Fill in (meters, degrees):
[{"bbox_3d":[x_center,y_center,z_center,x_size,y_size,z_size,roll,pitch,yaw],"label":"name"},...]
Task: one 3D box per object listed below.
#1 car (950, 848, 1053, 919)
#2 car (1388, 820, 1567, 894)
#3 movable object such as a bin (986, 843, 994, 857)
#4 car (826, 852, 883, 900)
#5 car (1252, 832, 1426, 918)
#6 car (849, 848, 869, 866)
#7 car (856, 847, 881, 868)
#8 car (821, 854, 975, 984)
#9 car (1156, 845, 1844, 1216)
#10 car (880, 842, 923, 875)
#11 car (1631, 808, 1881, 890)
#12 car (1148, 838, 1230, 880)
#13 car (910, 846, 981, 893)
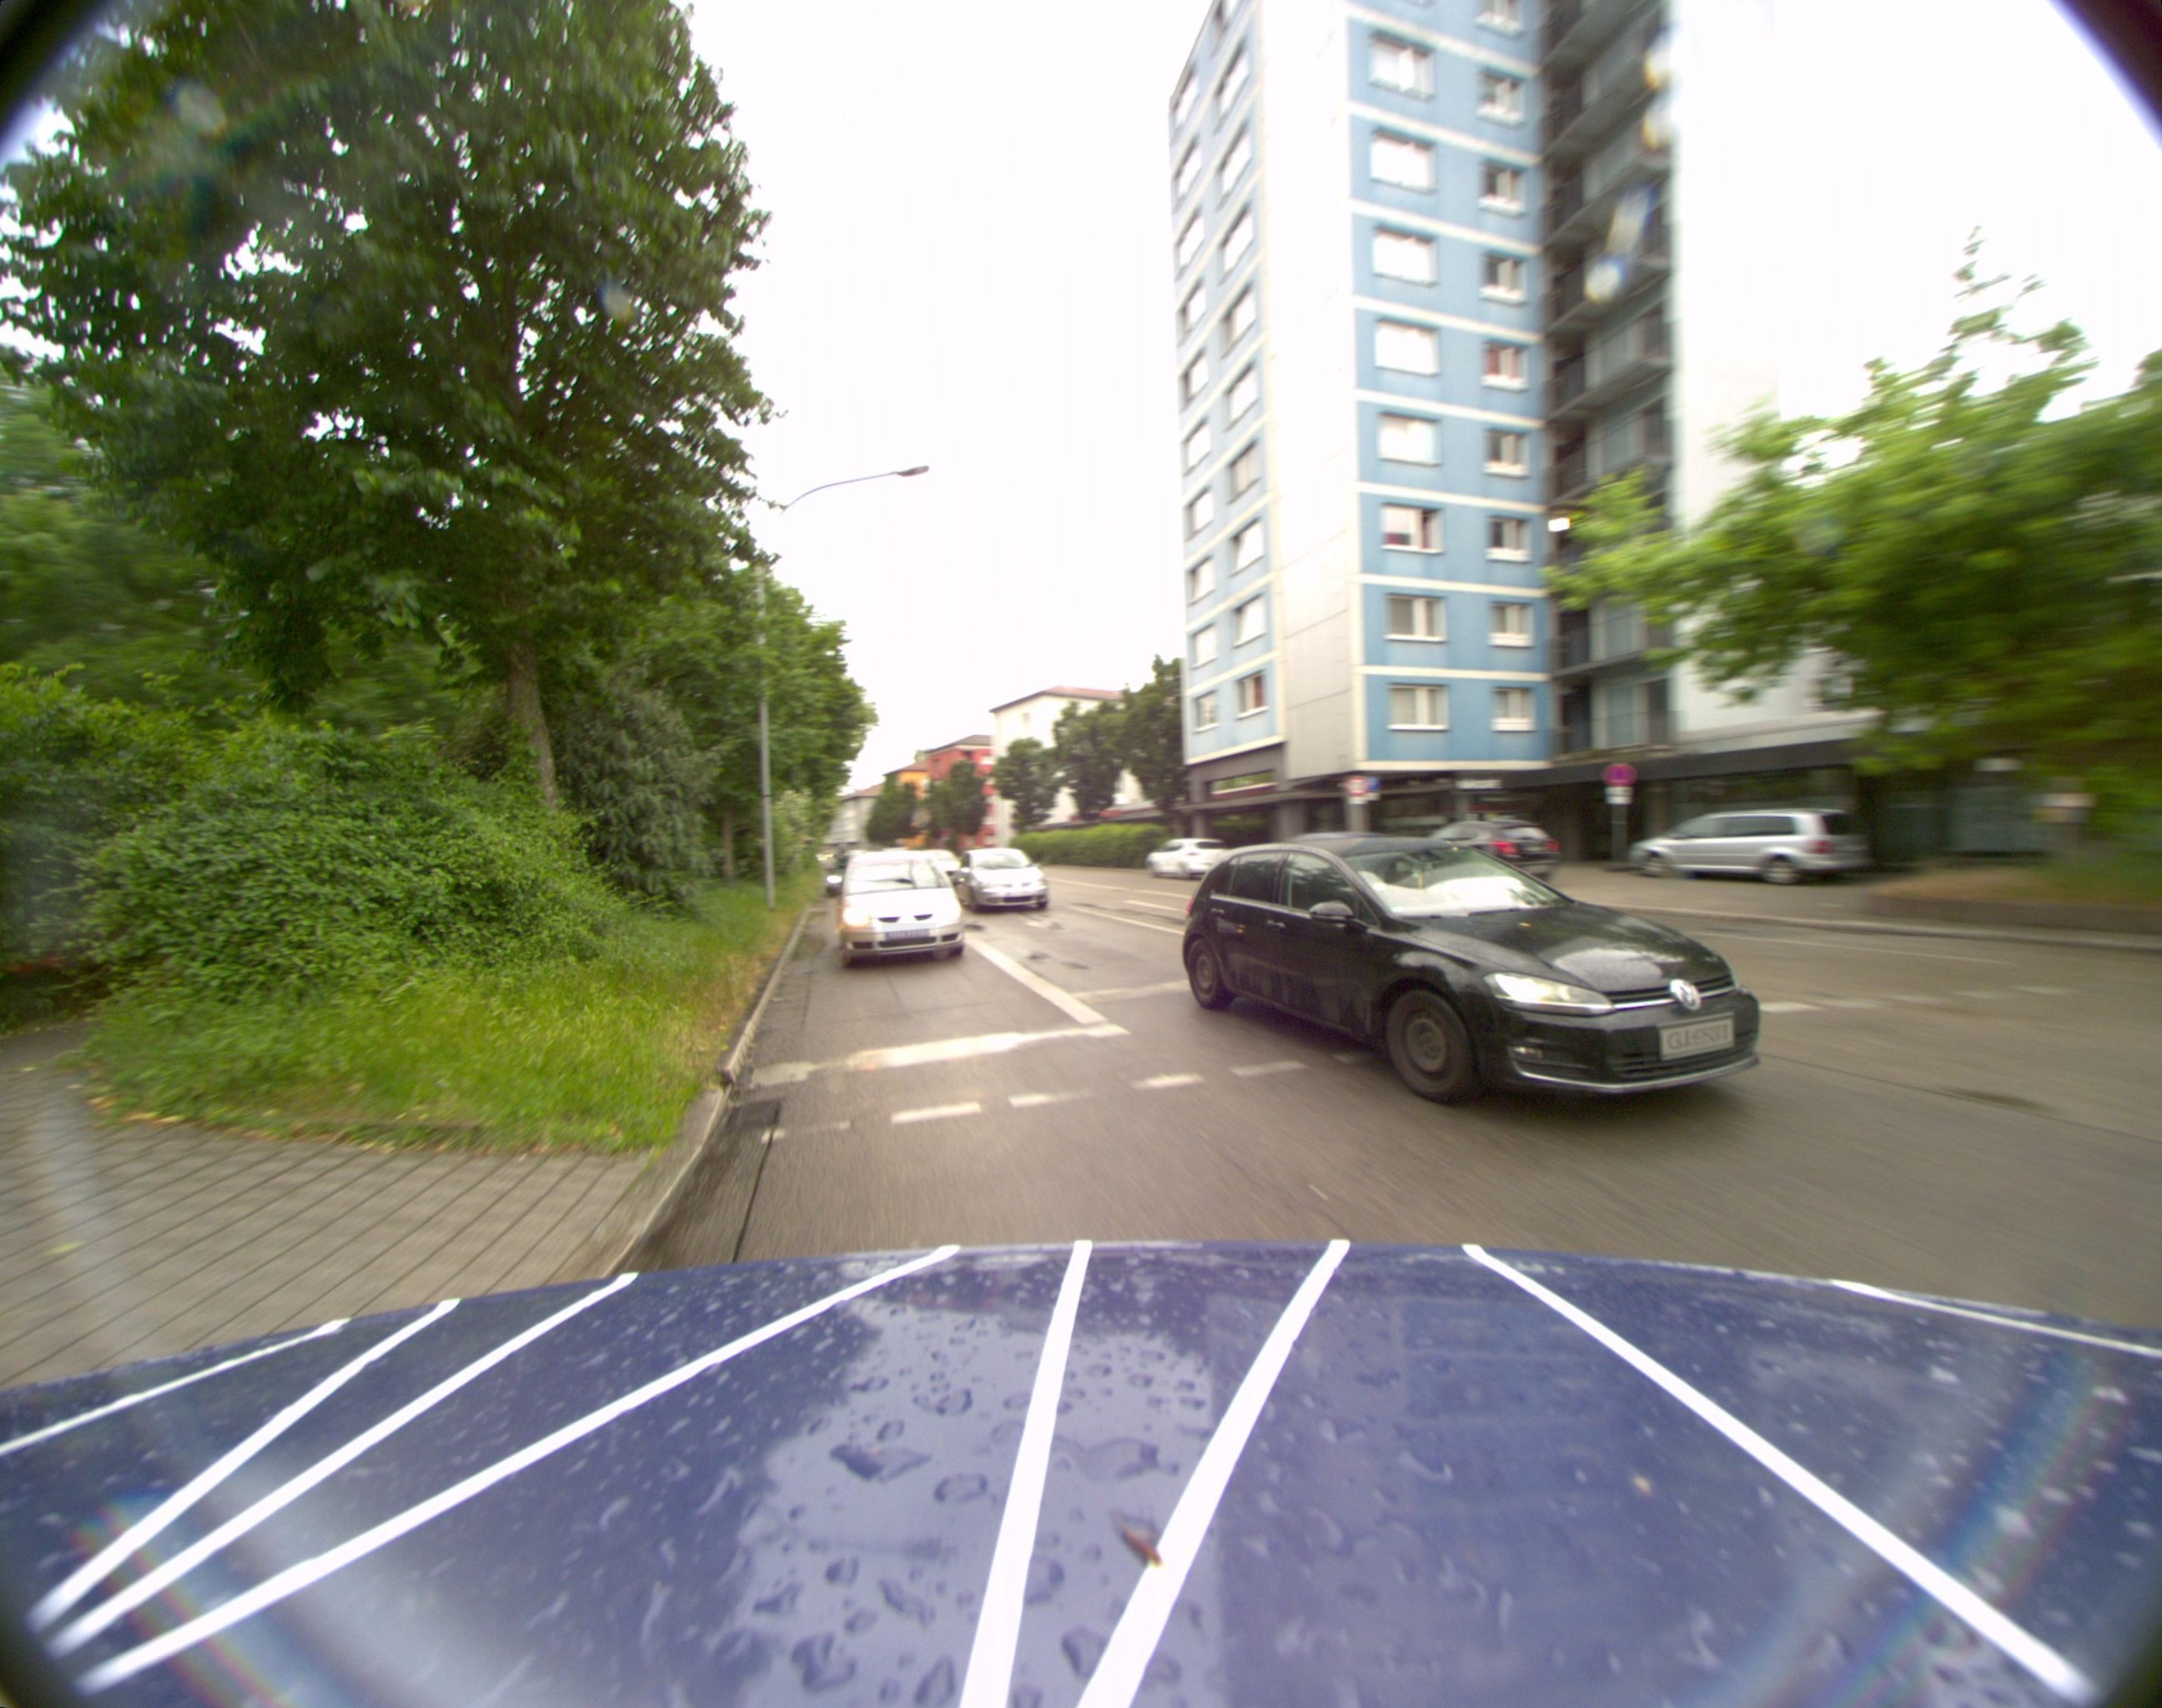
[{"bbox_3d":[-2.069,0.630,18.712,1.689,1.417,4.029,-2,2,-18],"label":"car"},{"bbox_3d":[10.171,-0.026,19.850,1.652,1.657,4.178,-4,3,-18],"label":"car"},{"bbox_3d":[-9.562,-0.436,80.030,0.786,1.492,0.818,0,1,1],"label":"movable object such as a bin"},{"bbox_3d":[-8.480,0.751,28.245,1.689,1.496,4.494,-5,2,-20],"label":"car"},{"bbox_3d":[5.129,0.352,15.555,1.618,1.526,3.446,-2,1,-18],"label":"car"},{"bbox_3d":[-26.525,0.326,90.765,1.992,1.699,4.573,-8,4,-18],"label":"car"},{"bbox_3d":[-20.963,0.290,74.760,1.992,1.699,4.573,-8,4,-18],"label":"car"},{"bbox_3d":[-2.945,0.815,11.613,1.689,1.496,3.831,-5,2,-21],"label":"car"},{"bbox_3d":[2.158,0.692,5.308,1.689,1.417,4.160,-4,2,-18],"label":"car"},{"bbox_3d":[-11.010,0.224,46.433,1.992,1.699,4.573,-8,4,-18],"label":"car"},{"bbox_3d":[15.838,-0.195,18.157,1.652,1.657,4.178,-4,3,-18],"label":"car"},{"bbox_3d":[4.055,0.142,29.097,1.652,1.510,3.711,0,1,-18],"label":"car"},{"bbox_3d":[-5.422,0.535,29.956,1.992,1.434,4.573,-8,4,-18],"label":"car"}]
